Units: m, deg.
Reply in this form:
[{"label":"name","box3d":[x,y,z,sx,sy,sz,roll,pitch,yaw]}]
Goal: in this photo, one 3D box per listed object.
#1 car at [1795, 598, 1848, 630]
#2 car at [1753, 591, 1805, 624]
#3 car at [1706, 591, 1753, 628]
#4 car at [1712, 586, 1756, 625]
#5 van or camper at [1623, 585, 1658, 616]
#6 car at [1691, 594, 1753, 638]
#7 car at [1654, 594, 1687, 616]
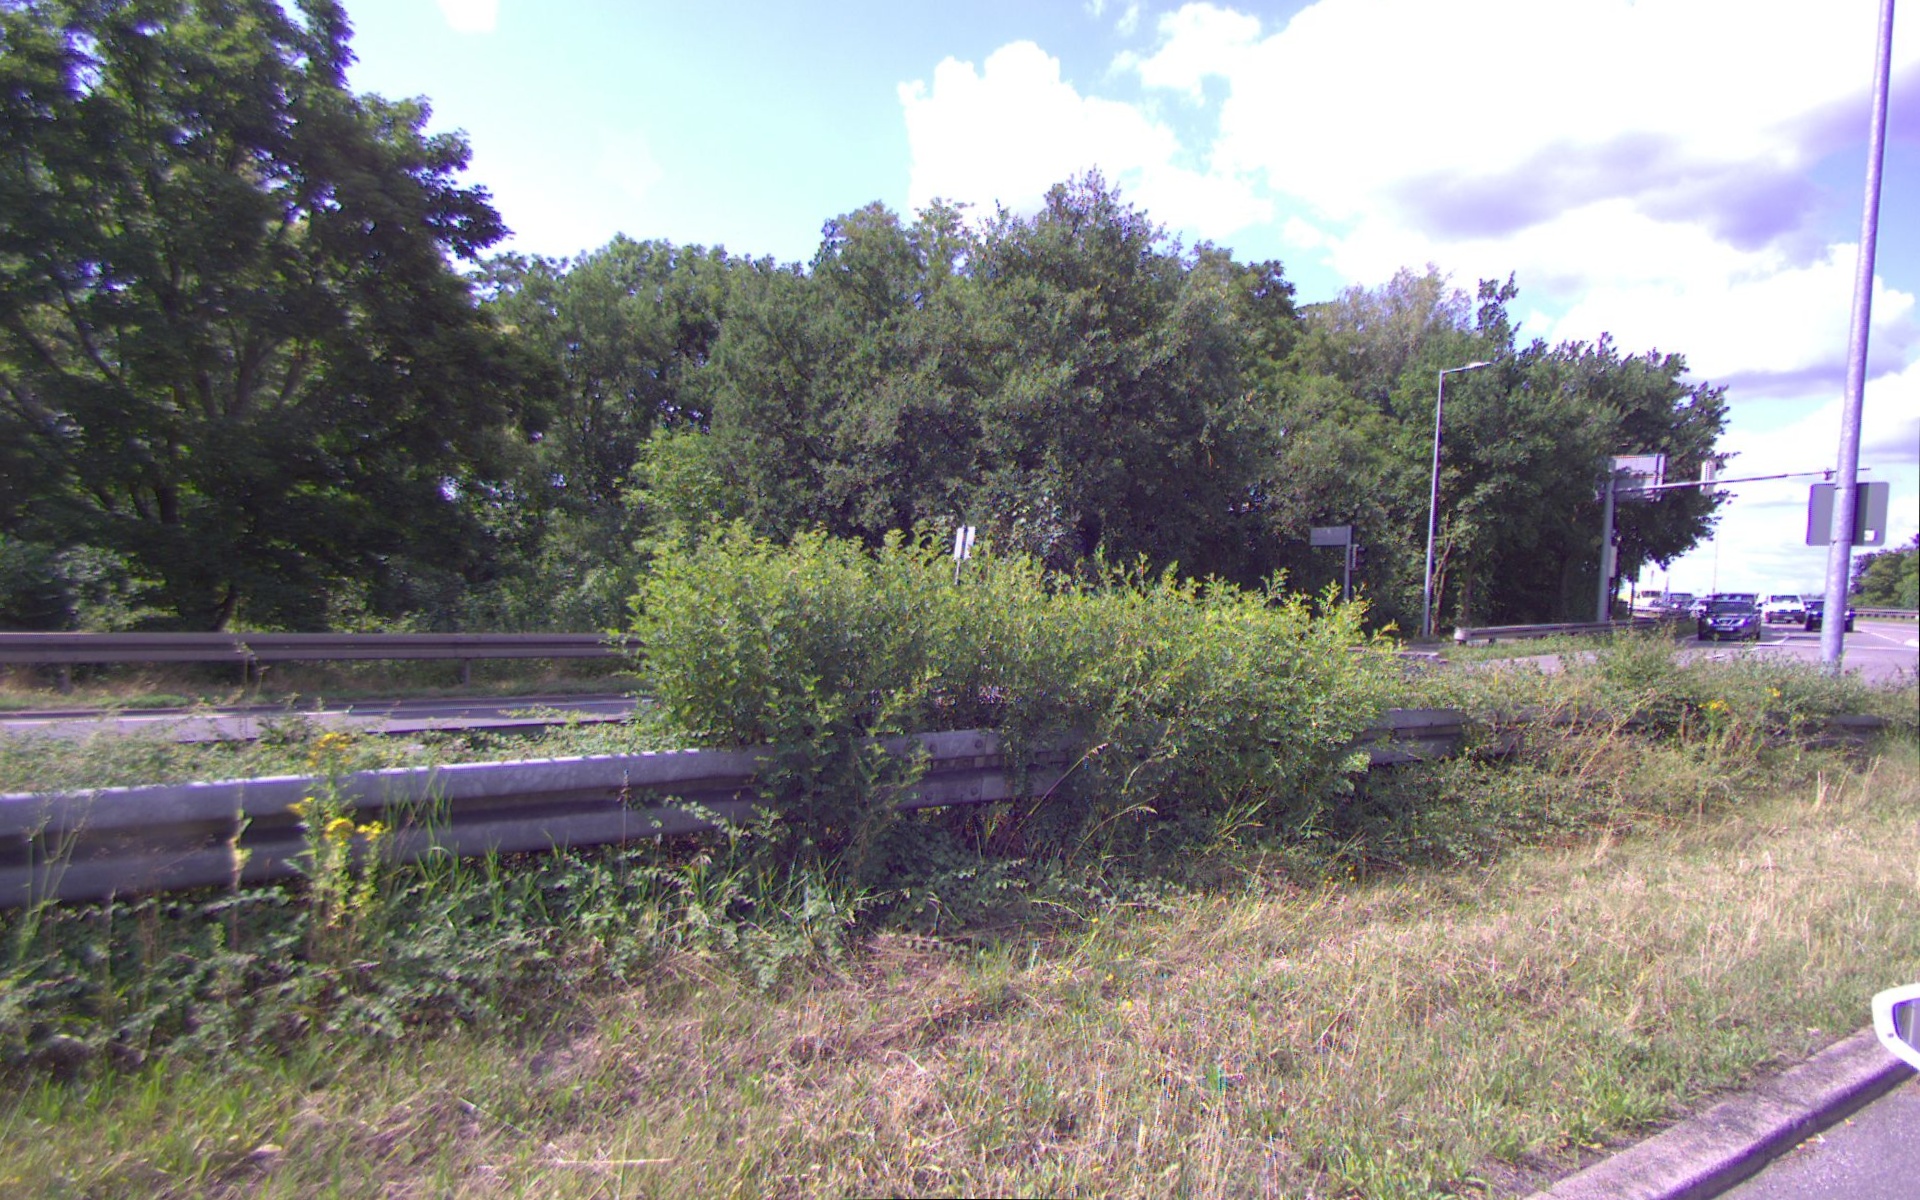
[{"label":"car","box3d":[43.567,0.699,50.873,1.709,1.516,4.031,2,1,37]},{"label":"car","box3d":[53.200,0.455,65.294,1.965,2.041,4.459,2,1,31]},{"label":"car","box3d":[39.959,0.478,52.130,1.820,1.826,4.307,2,1,39]},{"label":"car","box3d":[44.865,0.327,58.265,1.819,2.128,4.311,2,1,36]},{"label":"van or camper","box3d":[64.694,0.048,95.528,1.963,2.719,6.852,2,1,28]},{"label":"car","box3d":[30.667,0.670,40.369,1.816,1.639,3.982,2,0,39]},{"label":"car","box3d":[58.033,0.390,82.082,1.817,1.728,4.316,2,1,32]}]
